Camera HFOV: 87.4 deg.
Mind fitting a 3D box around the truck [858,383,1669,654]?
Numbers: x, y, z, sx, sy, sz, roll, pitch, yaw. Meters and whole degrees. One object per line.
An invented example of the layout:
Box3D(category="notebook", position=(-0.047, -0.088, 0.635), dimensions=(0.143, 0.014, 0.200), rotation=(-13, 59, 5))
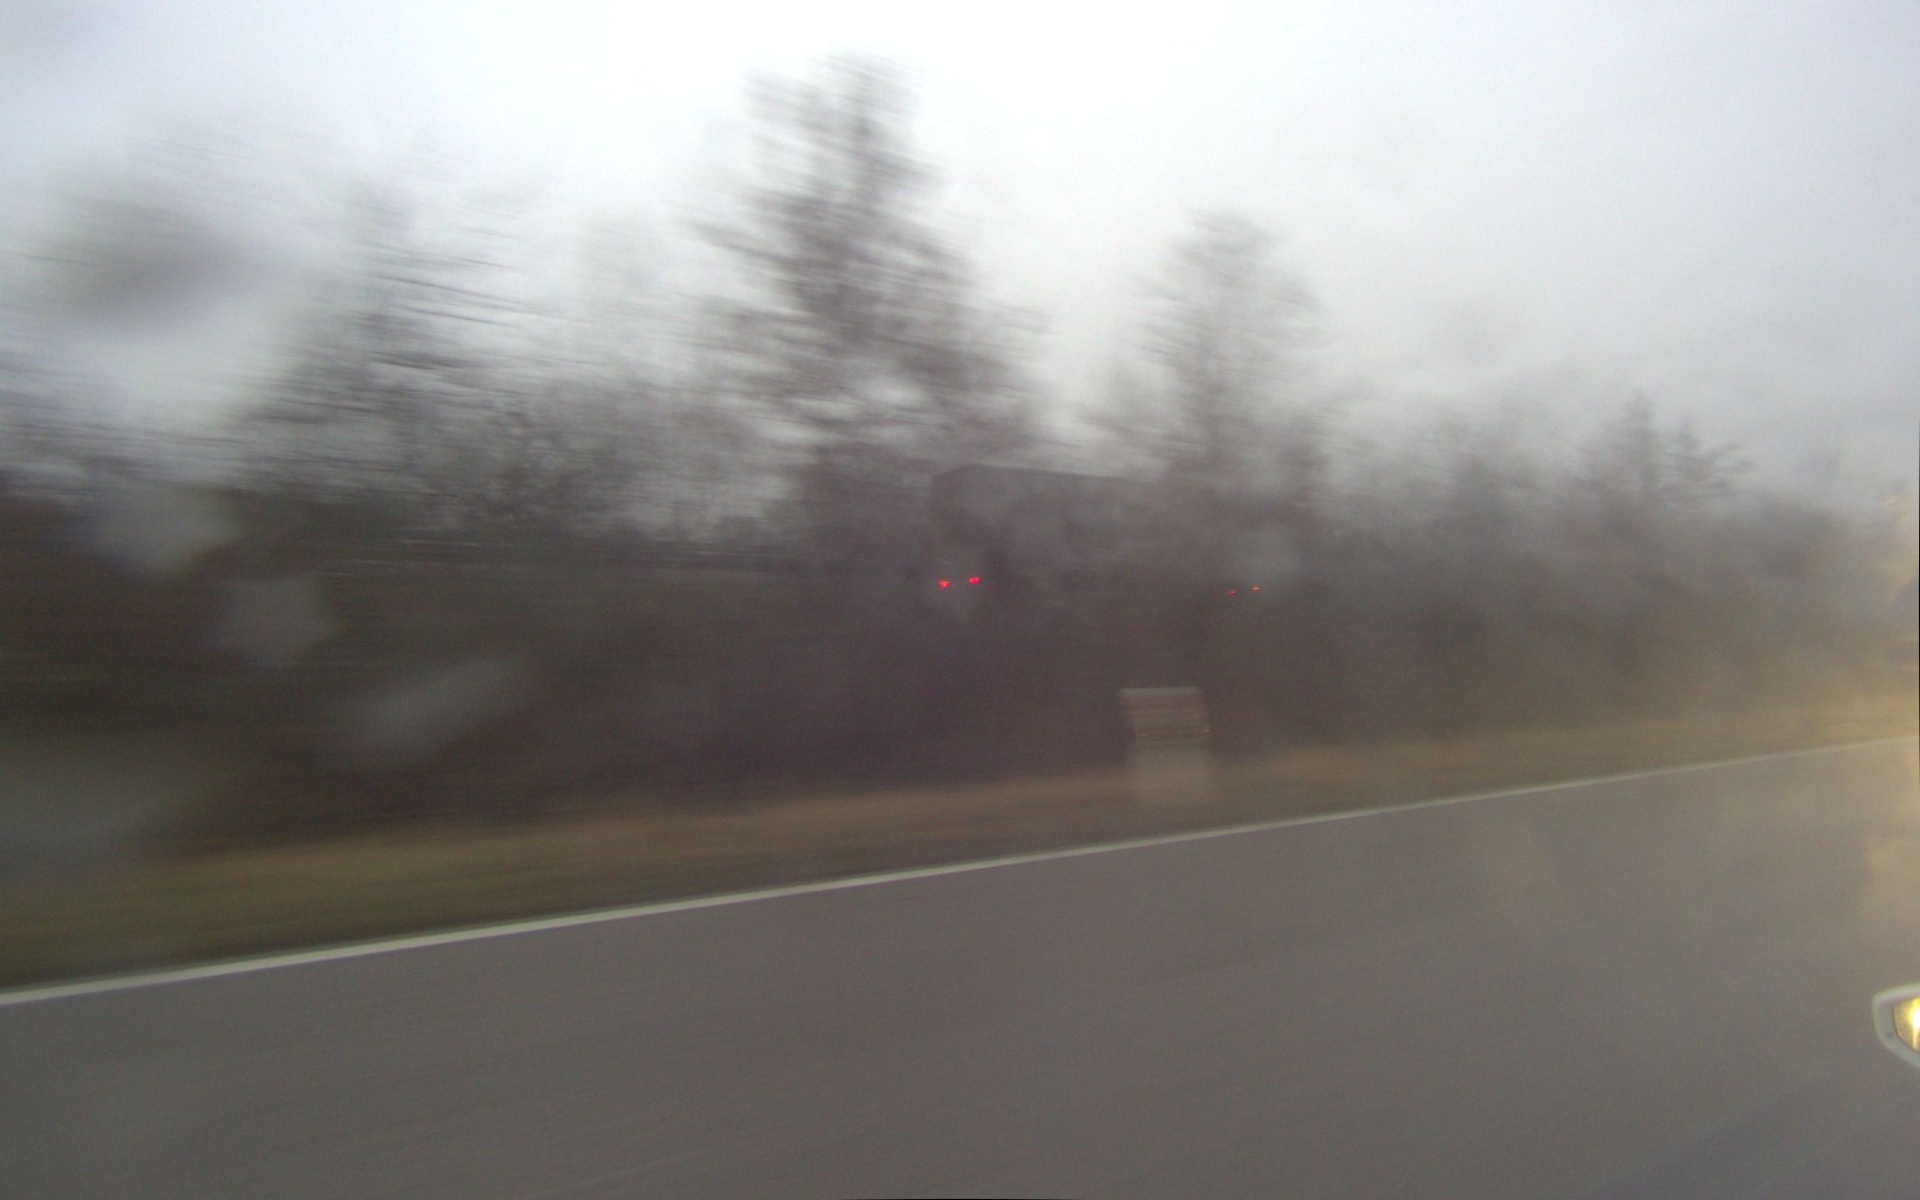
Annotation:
Box3D(category="truck", position=(15.441, -1.878, 42.135), dimensions=(39.674, 7.815, 7.508), rotation=(2, 0, -30))
